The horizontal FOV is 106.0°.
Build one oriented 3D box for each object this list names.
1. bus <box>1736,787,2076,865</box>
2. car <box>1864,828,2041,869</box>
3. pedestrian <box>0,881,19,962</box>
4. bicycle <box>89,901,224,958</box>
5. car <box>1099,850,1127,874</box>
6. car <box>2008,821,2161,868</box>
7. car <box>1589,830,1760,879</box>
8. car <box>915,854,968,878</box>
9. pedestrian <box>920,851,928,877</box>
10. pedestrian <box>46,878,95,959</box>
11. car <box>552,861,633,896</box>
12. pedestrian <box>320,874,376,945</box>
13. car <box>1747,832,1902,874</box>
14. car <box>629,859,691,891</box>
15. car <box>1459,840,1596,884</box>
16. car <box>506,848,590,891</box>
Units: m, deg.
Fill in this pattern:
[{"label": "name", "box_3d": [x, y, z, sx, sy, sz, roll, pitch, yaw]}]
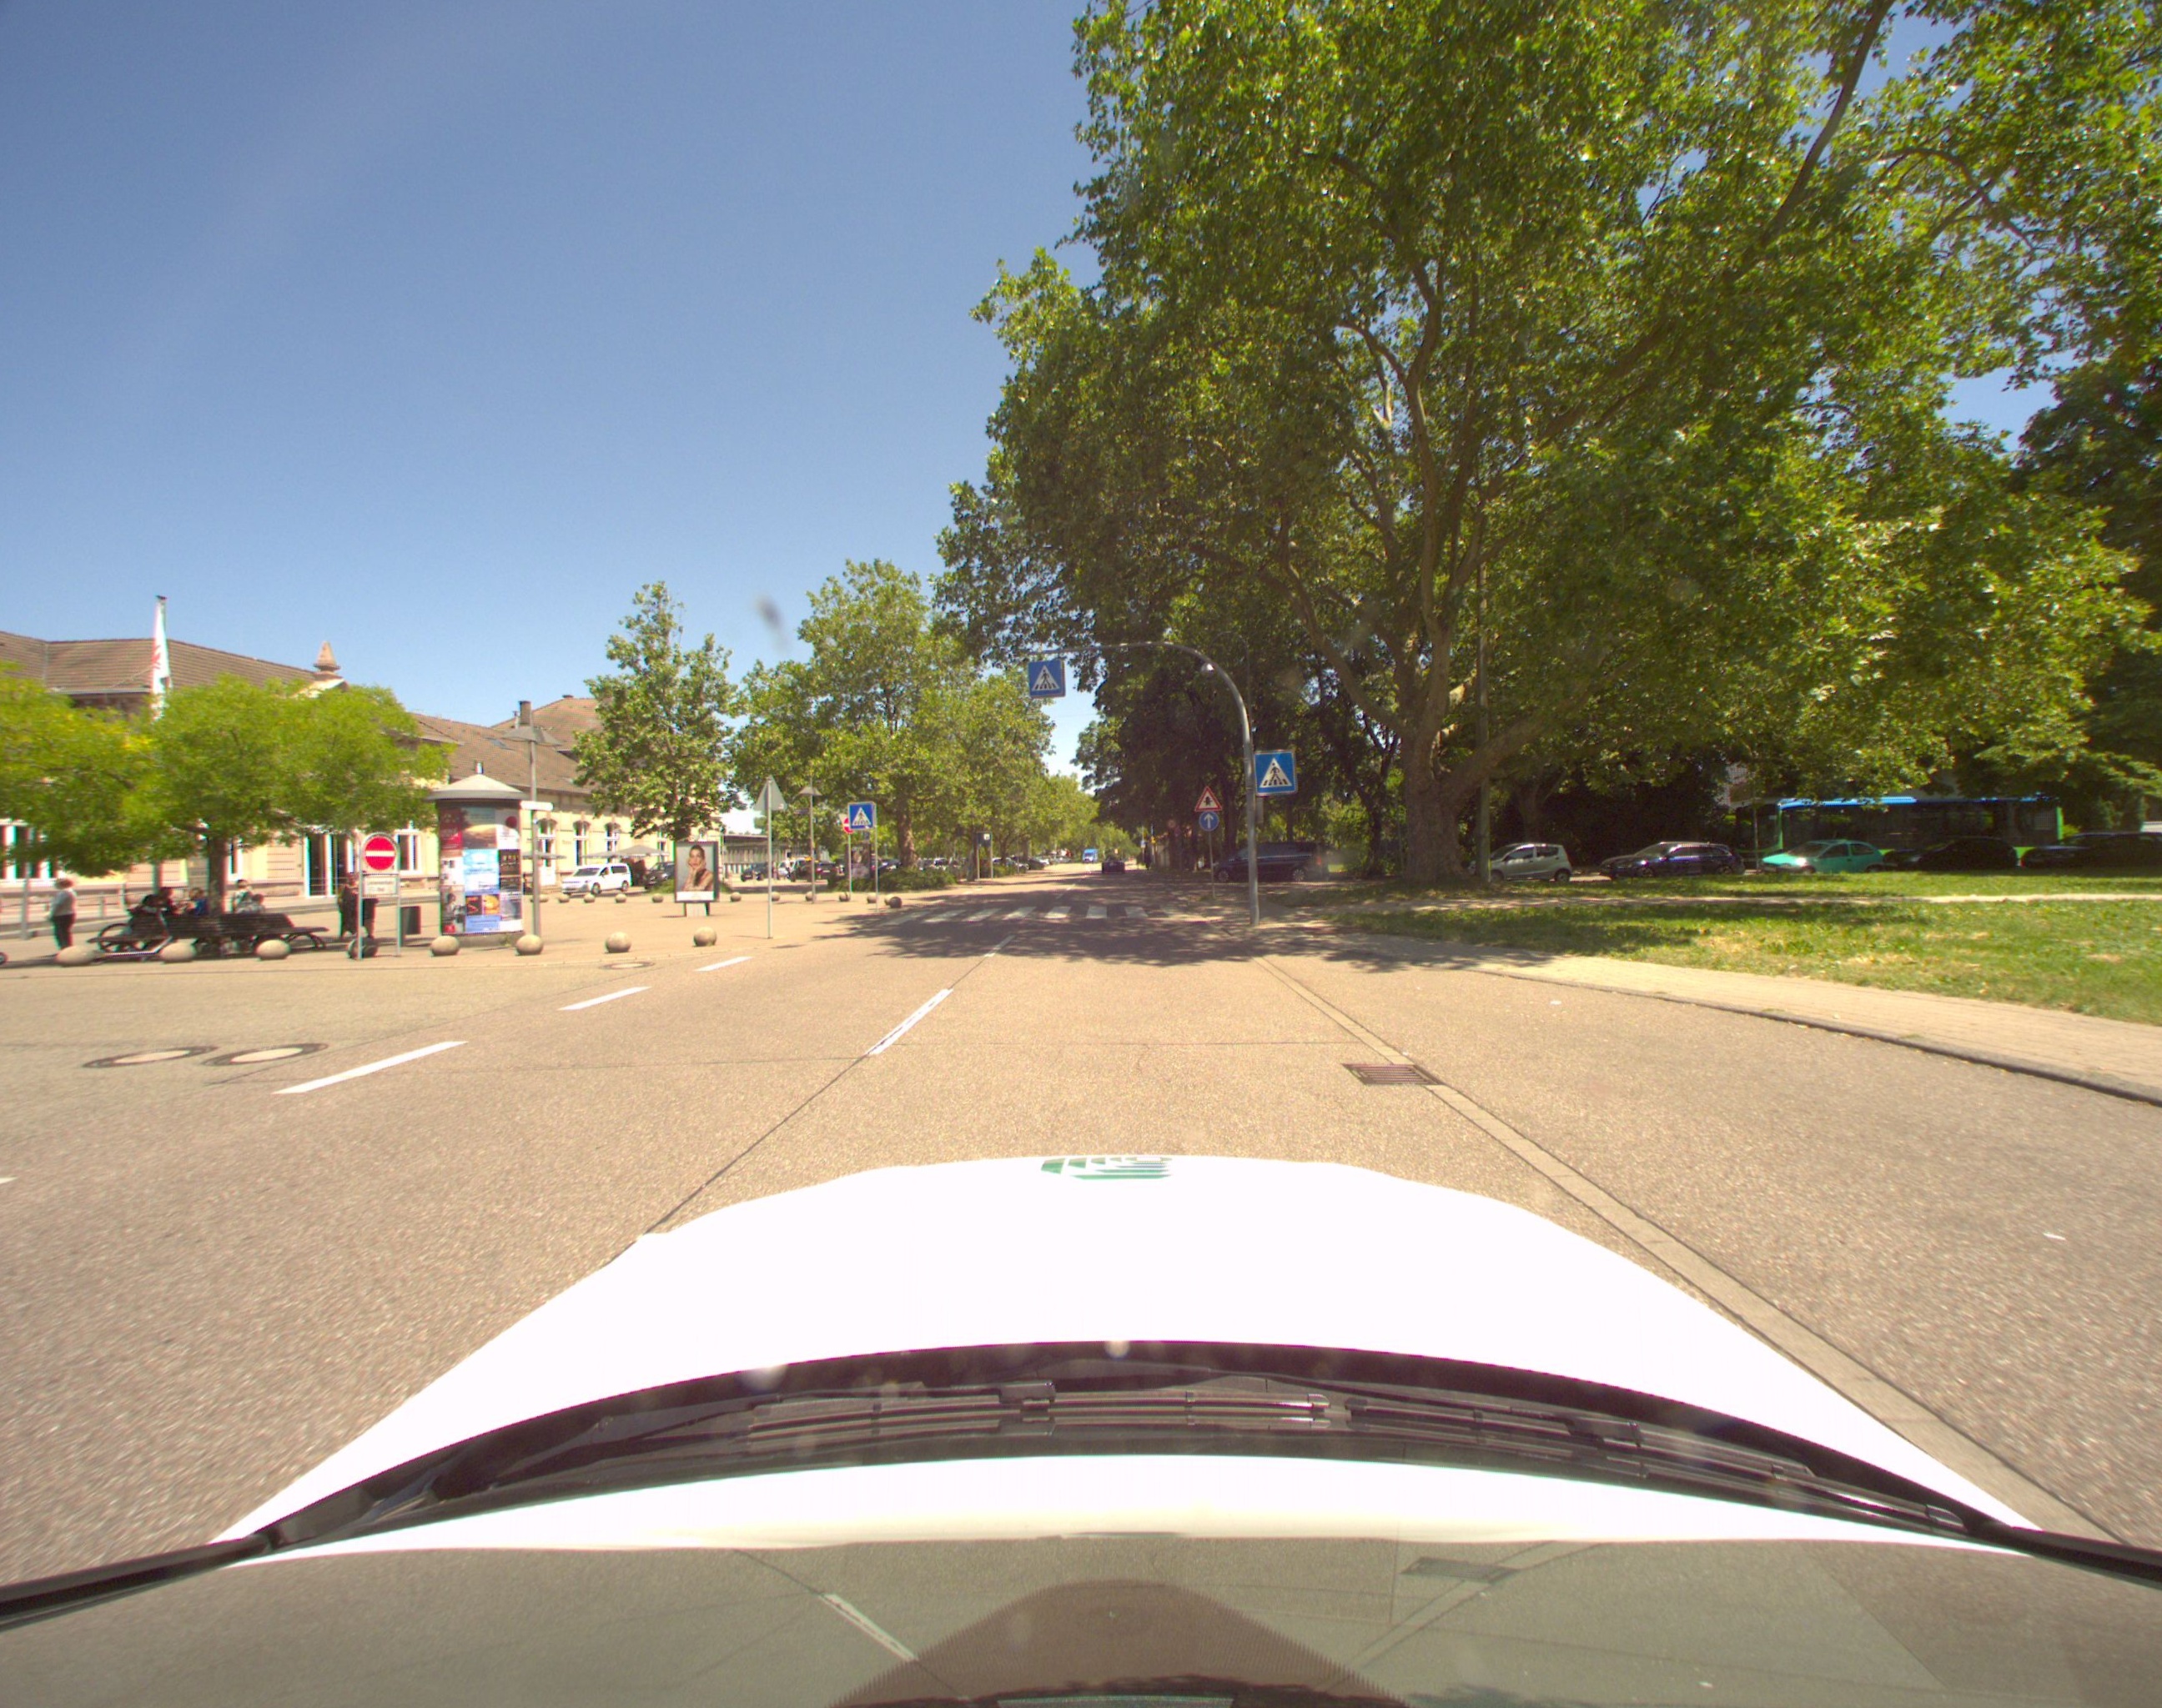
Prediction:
[{"label": "bus", "box_3d": [36.085, -1.177, 35.887, 12.332, 2.978, 2.269, -2, -1, 1]}, {"label": "car", "box_3d": [32.218, -0.176, 30.223, 4.320, 1.416, 2.001, -1, -1, 2]}, {"label": "pedestrian", "box_3d": [-22.903, 1.424, 17.084, 0.661, 1.673, 0.623, 0, -3, -44]}, {"label": "bicycle", "box_3d": [-19.100, 1.546, 16.863, 1.800, 1.030, 0.485, -1, -1, -22]}, {"label": "car", "box_3d": [2.638, 0.643, 65.937, 2.116, 1.848, 4.051, -1, 0, 3]}, {"label": "car", "box_3d": [37.518, -0.339, 30.110, 4.079, 1.609, 2.002, -1, -1, 3]}, {"label": "car", "box_3d": [21.983, 0.014, 30.312, 4.802, 1.607, 2.002, -2, 0, 4]}, {"label": "car", "box_3d": [-11.245, 0.964, 65.673, 3.996, 1.781, 1.989, -1, -1, -17]}, {"label": "pedestrian", "box_3d": [-12.358, 0.825, 64.091, 0.625, 2.014, 0.568, -1, -2, -12]}, {"label": "pedestrian", "box_3d": [-22.019, 1.395, 17.753, 0.589, 1.710, 0.580, 0, -3, -44]}, {"label": "car", "box_3d": [-28.868, 1.411, 48.302, 1.744, 1.917, 4.777, -2, 0, 2]}, {"label": "pedestrian", "box_3d": [-17.746, 1.335, 19.718, 0.754, 1.659, 0.724, -2, -2, 19]}, {"label": "car", "box_3d": [27.536, -0.011, 30.280, 3.865, 1.454, 2.001, -1, -1, 2]}, {"label": "car", "box_3d": [-28.440, 1.434, 55.157, 1.986, 2.014, 4.001, -2, -1, 2]}, {"label": "car", "box_3d": [16.850, 0.302, 30.900, 4.086, 1.466, 2.002, -2, 0, 4]}, {"label": "car", "box_3d": [-32.245, 0.909, 49.455, 1.713, 2.468, 5.005, 0, 0, 1]}]
